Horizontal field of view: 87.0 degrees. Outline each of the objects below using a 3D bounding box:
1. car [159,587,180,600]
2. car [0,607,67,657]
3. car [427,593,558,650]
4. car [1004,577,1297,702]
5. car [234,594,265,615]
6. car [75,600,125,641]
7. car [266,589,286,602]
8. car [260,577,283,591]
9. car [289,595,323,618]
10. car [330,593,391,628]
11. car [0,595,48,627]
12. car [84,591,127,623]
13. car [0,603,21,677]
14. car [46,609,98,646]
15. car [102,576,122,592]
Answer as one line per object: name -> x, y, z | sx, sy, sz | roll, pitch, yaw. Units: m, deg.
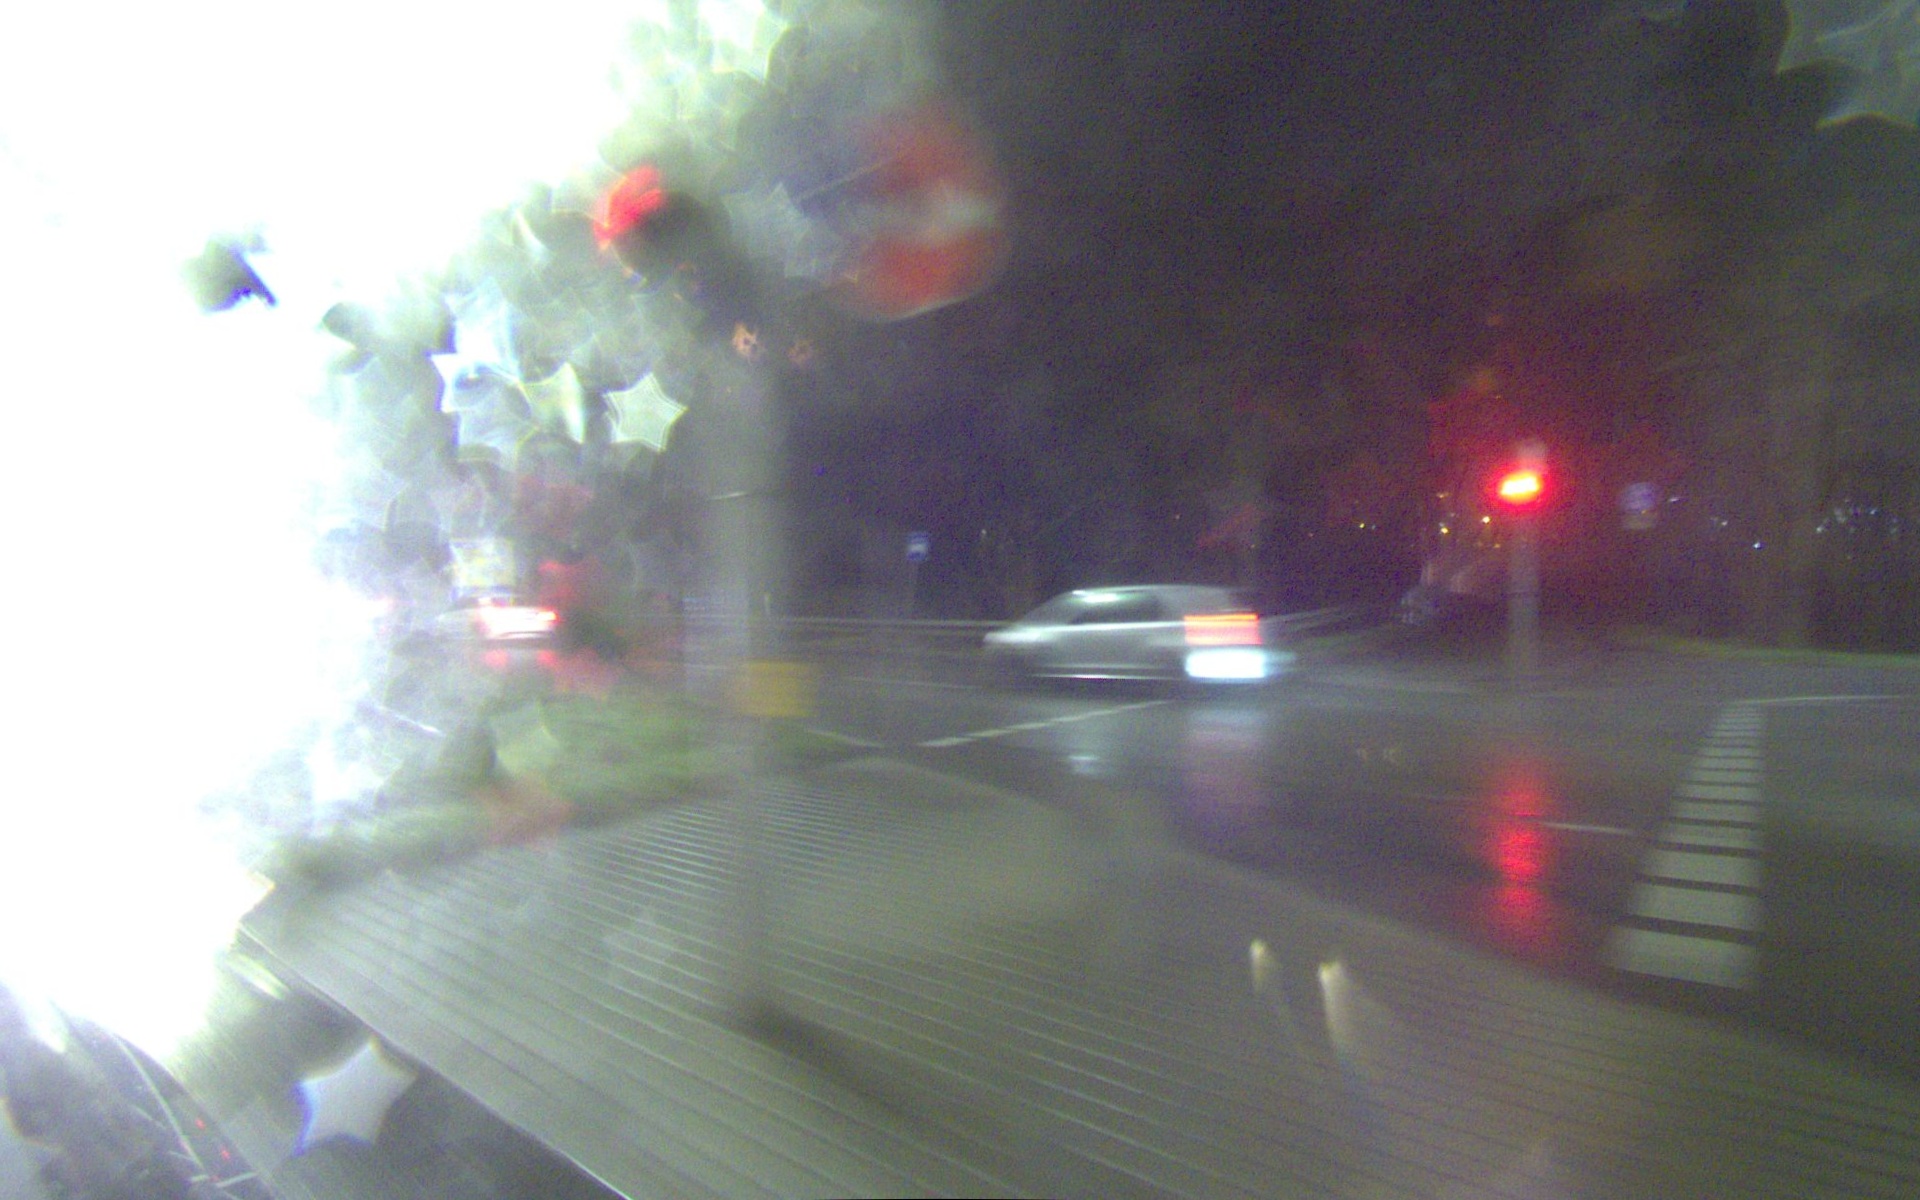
car -> -109.005, -0.858, 139.538 | 1.967, 1.691, 4.010 | -3, 3, -35
car -> -32.003, 1.067, 34.880 | 1.582, 1.435, 3.396 | -5, 4, -39
car -> -13.121, 0.604, 28.273 | 4.578, 1.468, 1.770 | -1, -1, 44
car -> 2.458, 0.490, 13.379 | 3.489, 1.444, 1.550 | -1, -1, 37
car -> -55.628, 0.335, 79.239 | 1.824, 1.583, 3.514 | -2, 0, -38
car -> -47.902, 1.108, 56.361 | 1.969, 2.028, 4.006 | -3, 3, -41
car -> -77.770, -0.539, 114.980 | 1.689, 1.434, 4.678 | 1, 0, -36
car -> -92.286, -2.161, 135.681 | 1.849, 1.873, 4.004 | -3, 3, -43
car -> -46.667, 0.437, 72.160 | 1.751, 1.605, 4.571 | -1, 1, -37
car -> -27.148, 0.439, 45.793 | 1.713, 1.507, 3.947 | 1, 0, -41
car -> -50.690, 0.567, 54.517 | 1.968, 1.610, 4.401 | -1, 2, -38
car -> -53.110, 0.396, 62.949 | 1.939, 1.807, 4.007 | -3, 3, -40
car -> -21.234, 0.874, 21.425 | 1.582, 1.435, 3.397 | -5, 4, -38
car -> -40.461, 1.223, 46.165 | 1.582, 1.435, 3.396 | -5, 4, -39
car -> -116.127, -2.204, 138.632 | 1.968, 2.028, 4.008 | -2, 2, -38
